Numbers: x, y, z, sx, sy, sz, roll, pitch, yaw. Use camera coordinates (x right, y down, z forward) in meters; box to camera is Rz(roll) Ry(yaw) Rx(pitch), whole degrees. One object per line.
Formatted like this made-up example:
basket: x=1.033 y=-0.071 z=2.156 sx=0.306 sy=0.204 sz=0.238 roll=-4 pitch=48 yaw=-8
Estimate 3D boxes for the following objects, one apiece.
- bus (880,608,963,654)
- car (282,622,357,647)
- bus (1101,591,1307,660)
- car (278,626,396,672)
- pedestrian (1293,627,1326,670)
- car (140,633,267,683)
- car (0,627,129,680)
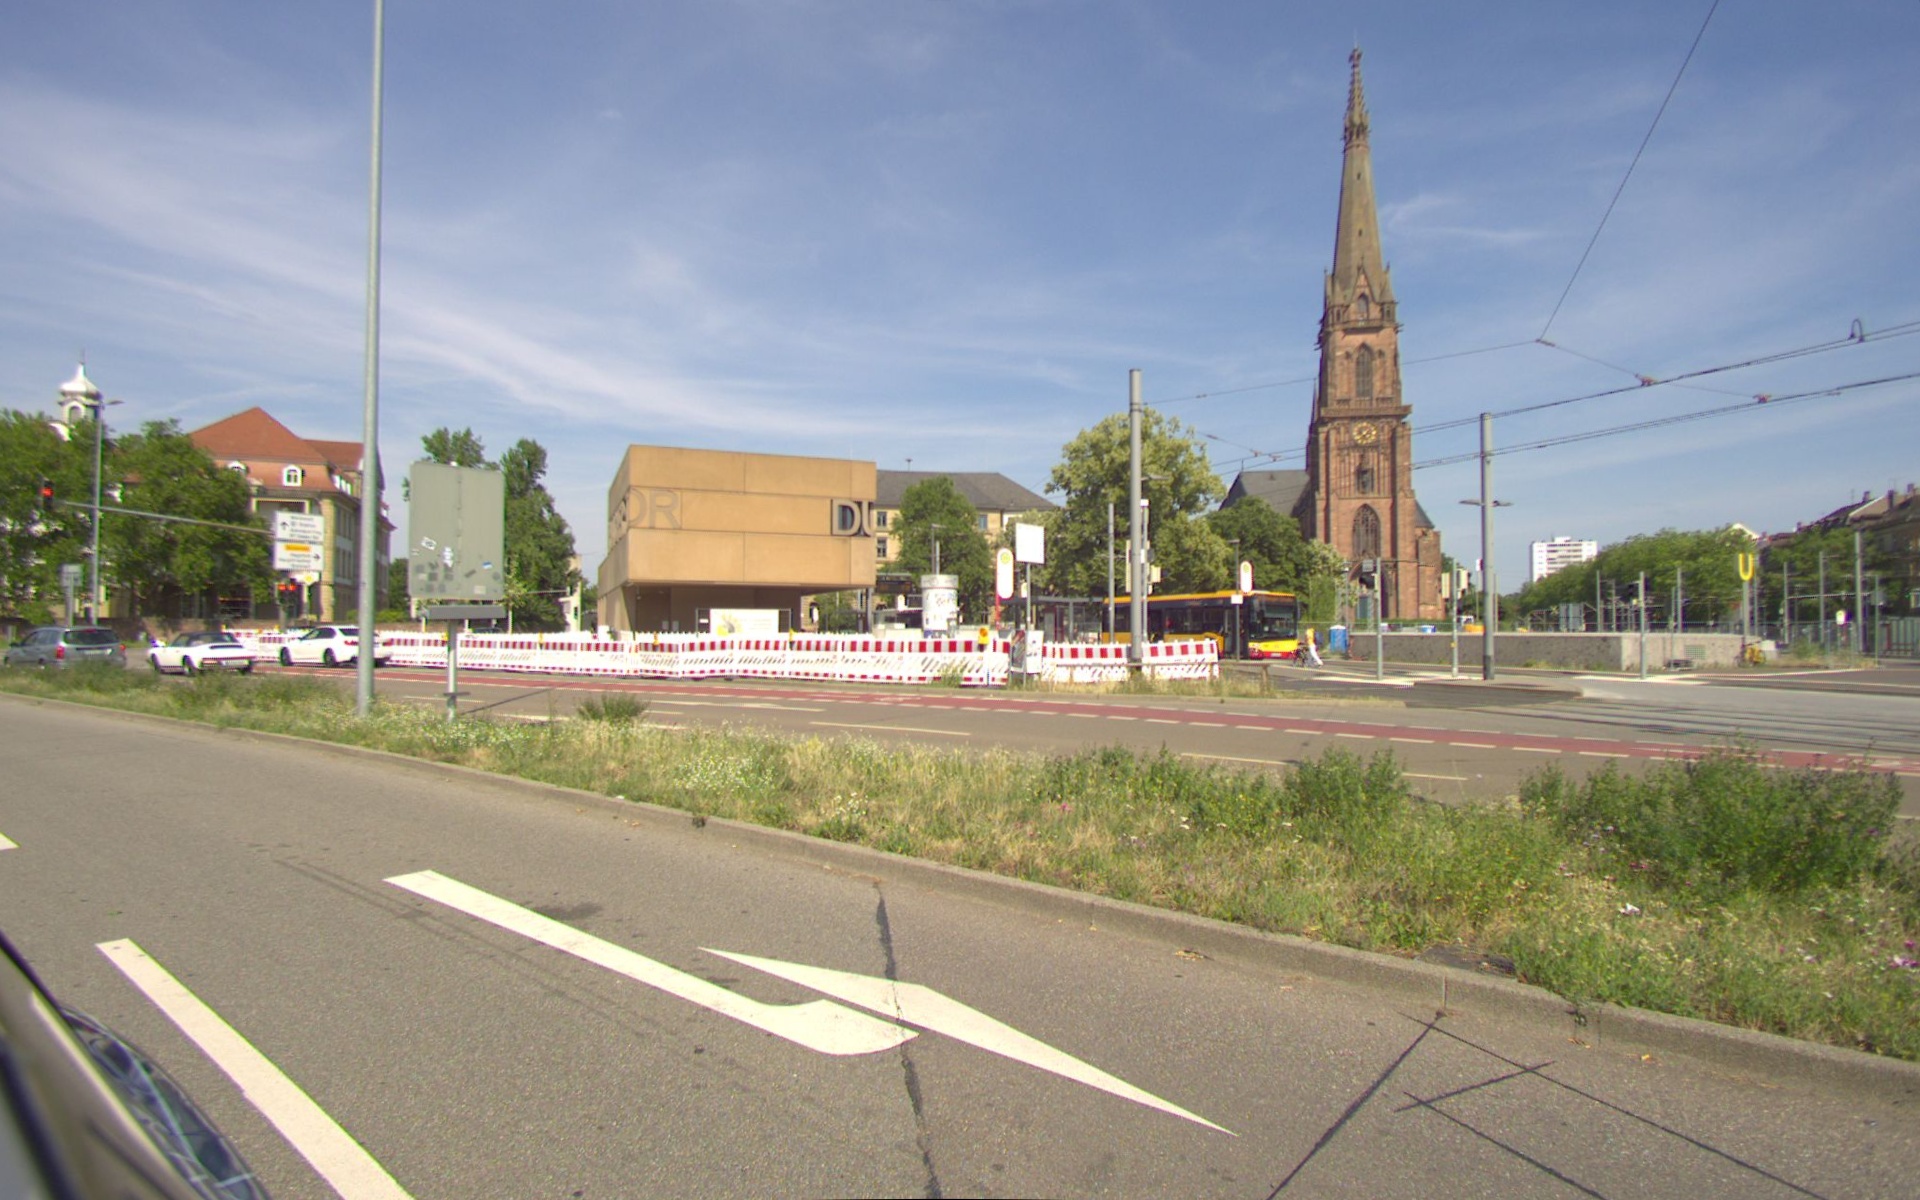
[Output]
bus: x=-3.249 y=2.451 z=79.519 sx=2.710 sy=3.348 sz=11.827 roll=1 pitch=-2 yaw=-21
car: x=-42.242 y=2.269 z=66.870 sx=1.743 sy=1.454 sz=4.092 roll=-1 pitch=0 yaw=16
bus: x=10.568 y=1.019 z=45.926 sx=2.711 sy=2.703 sz=11.828 roll=-1 pitch=0 yaw=-22
car: x=-21.328 y=1.645 z=34.621 sx=3.984 sy=1.431 sz=1.785 roll=-1 pitch=0 yaw=30
pedestrian: x=11.777 y=1.624 z=34.124 sx=0.911 sy=1.377 sz=0.532 roll=-1 pitch=0 yaw=41
car: x=-22.362 y=1.667 z=29.882 sx=3.984 sy=1.296 sz=1.583 roll=-1 pitch=0 yaw=30
car: x=-24.632 y=1.429 z=27.759 sx=3.984 sy=1.296 sz=1.583 roll=-1 pitch=0 yaw=30
